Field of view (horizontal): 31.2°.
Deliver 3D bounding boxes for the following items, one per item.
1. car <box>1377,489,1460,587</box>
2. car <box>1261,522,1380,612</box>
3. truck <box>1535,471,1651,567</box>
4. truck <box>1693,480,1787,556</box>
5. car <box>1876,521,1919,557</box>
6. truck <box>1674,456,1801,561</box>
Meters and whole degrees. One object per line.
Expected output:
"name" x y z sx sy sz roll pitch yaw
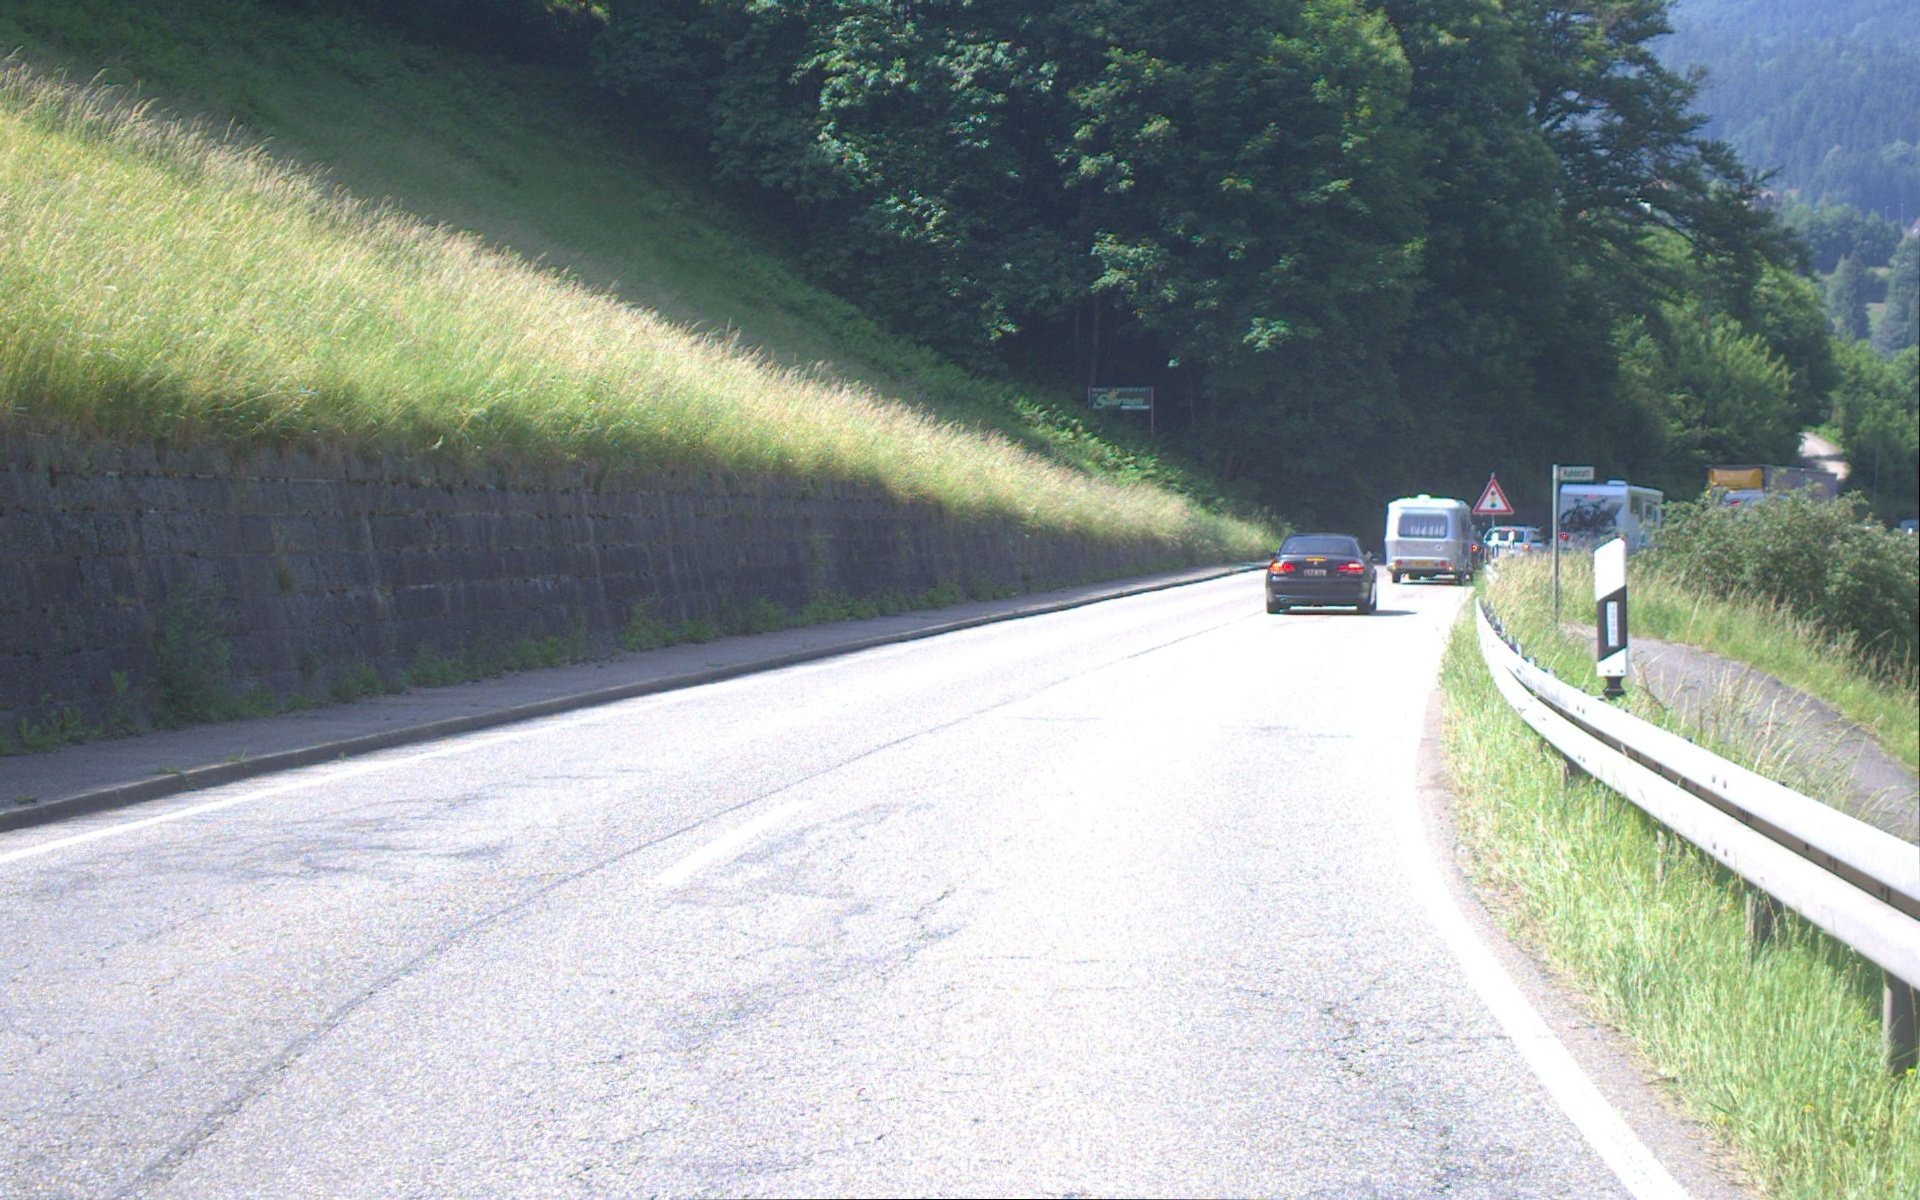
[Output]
"car" 11.976 -1.659 90.070 1.994 2.344 4.913 2 3 7
"car" 6.163 -0.583 58.505 1.772 1.331 3.766 2 3 9
"truck" 21.417 -2.772 116.114 2.793 2.987 6.862 4 3 18
"truck" 31.007 -3.224 136.505 2.240 2.794 6.223 3 1 25
"car" 43.230 -2.803 156.747 1.909 1.481 3.994 5 3 28
"truck" 34.046 -4.005 150.472 3.194 4.381 6.559 4 3 32
